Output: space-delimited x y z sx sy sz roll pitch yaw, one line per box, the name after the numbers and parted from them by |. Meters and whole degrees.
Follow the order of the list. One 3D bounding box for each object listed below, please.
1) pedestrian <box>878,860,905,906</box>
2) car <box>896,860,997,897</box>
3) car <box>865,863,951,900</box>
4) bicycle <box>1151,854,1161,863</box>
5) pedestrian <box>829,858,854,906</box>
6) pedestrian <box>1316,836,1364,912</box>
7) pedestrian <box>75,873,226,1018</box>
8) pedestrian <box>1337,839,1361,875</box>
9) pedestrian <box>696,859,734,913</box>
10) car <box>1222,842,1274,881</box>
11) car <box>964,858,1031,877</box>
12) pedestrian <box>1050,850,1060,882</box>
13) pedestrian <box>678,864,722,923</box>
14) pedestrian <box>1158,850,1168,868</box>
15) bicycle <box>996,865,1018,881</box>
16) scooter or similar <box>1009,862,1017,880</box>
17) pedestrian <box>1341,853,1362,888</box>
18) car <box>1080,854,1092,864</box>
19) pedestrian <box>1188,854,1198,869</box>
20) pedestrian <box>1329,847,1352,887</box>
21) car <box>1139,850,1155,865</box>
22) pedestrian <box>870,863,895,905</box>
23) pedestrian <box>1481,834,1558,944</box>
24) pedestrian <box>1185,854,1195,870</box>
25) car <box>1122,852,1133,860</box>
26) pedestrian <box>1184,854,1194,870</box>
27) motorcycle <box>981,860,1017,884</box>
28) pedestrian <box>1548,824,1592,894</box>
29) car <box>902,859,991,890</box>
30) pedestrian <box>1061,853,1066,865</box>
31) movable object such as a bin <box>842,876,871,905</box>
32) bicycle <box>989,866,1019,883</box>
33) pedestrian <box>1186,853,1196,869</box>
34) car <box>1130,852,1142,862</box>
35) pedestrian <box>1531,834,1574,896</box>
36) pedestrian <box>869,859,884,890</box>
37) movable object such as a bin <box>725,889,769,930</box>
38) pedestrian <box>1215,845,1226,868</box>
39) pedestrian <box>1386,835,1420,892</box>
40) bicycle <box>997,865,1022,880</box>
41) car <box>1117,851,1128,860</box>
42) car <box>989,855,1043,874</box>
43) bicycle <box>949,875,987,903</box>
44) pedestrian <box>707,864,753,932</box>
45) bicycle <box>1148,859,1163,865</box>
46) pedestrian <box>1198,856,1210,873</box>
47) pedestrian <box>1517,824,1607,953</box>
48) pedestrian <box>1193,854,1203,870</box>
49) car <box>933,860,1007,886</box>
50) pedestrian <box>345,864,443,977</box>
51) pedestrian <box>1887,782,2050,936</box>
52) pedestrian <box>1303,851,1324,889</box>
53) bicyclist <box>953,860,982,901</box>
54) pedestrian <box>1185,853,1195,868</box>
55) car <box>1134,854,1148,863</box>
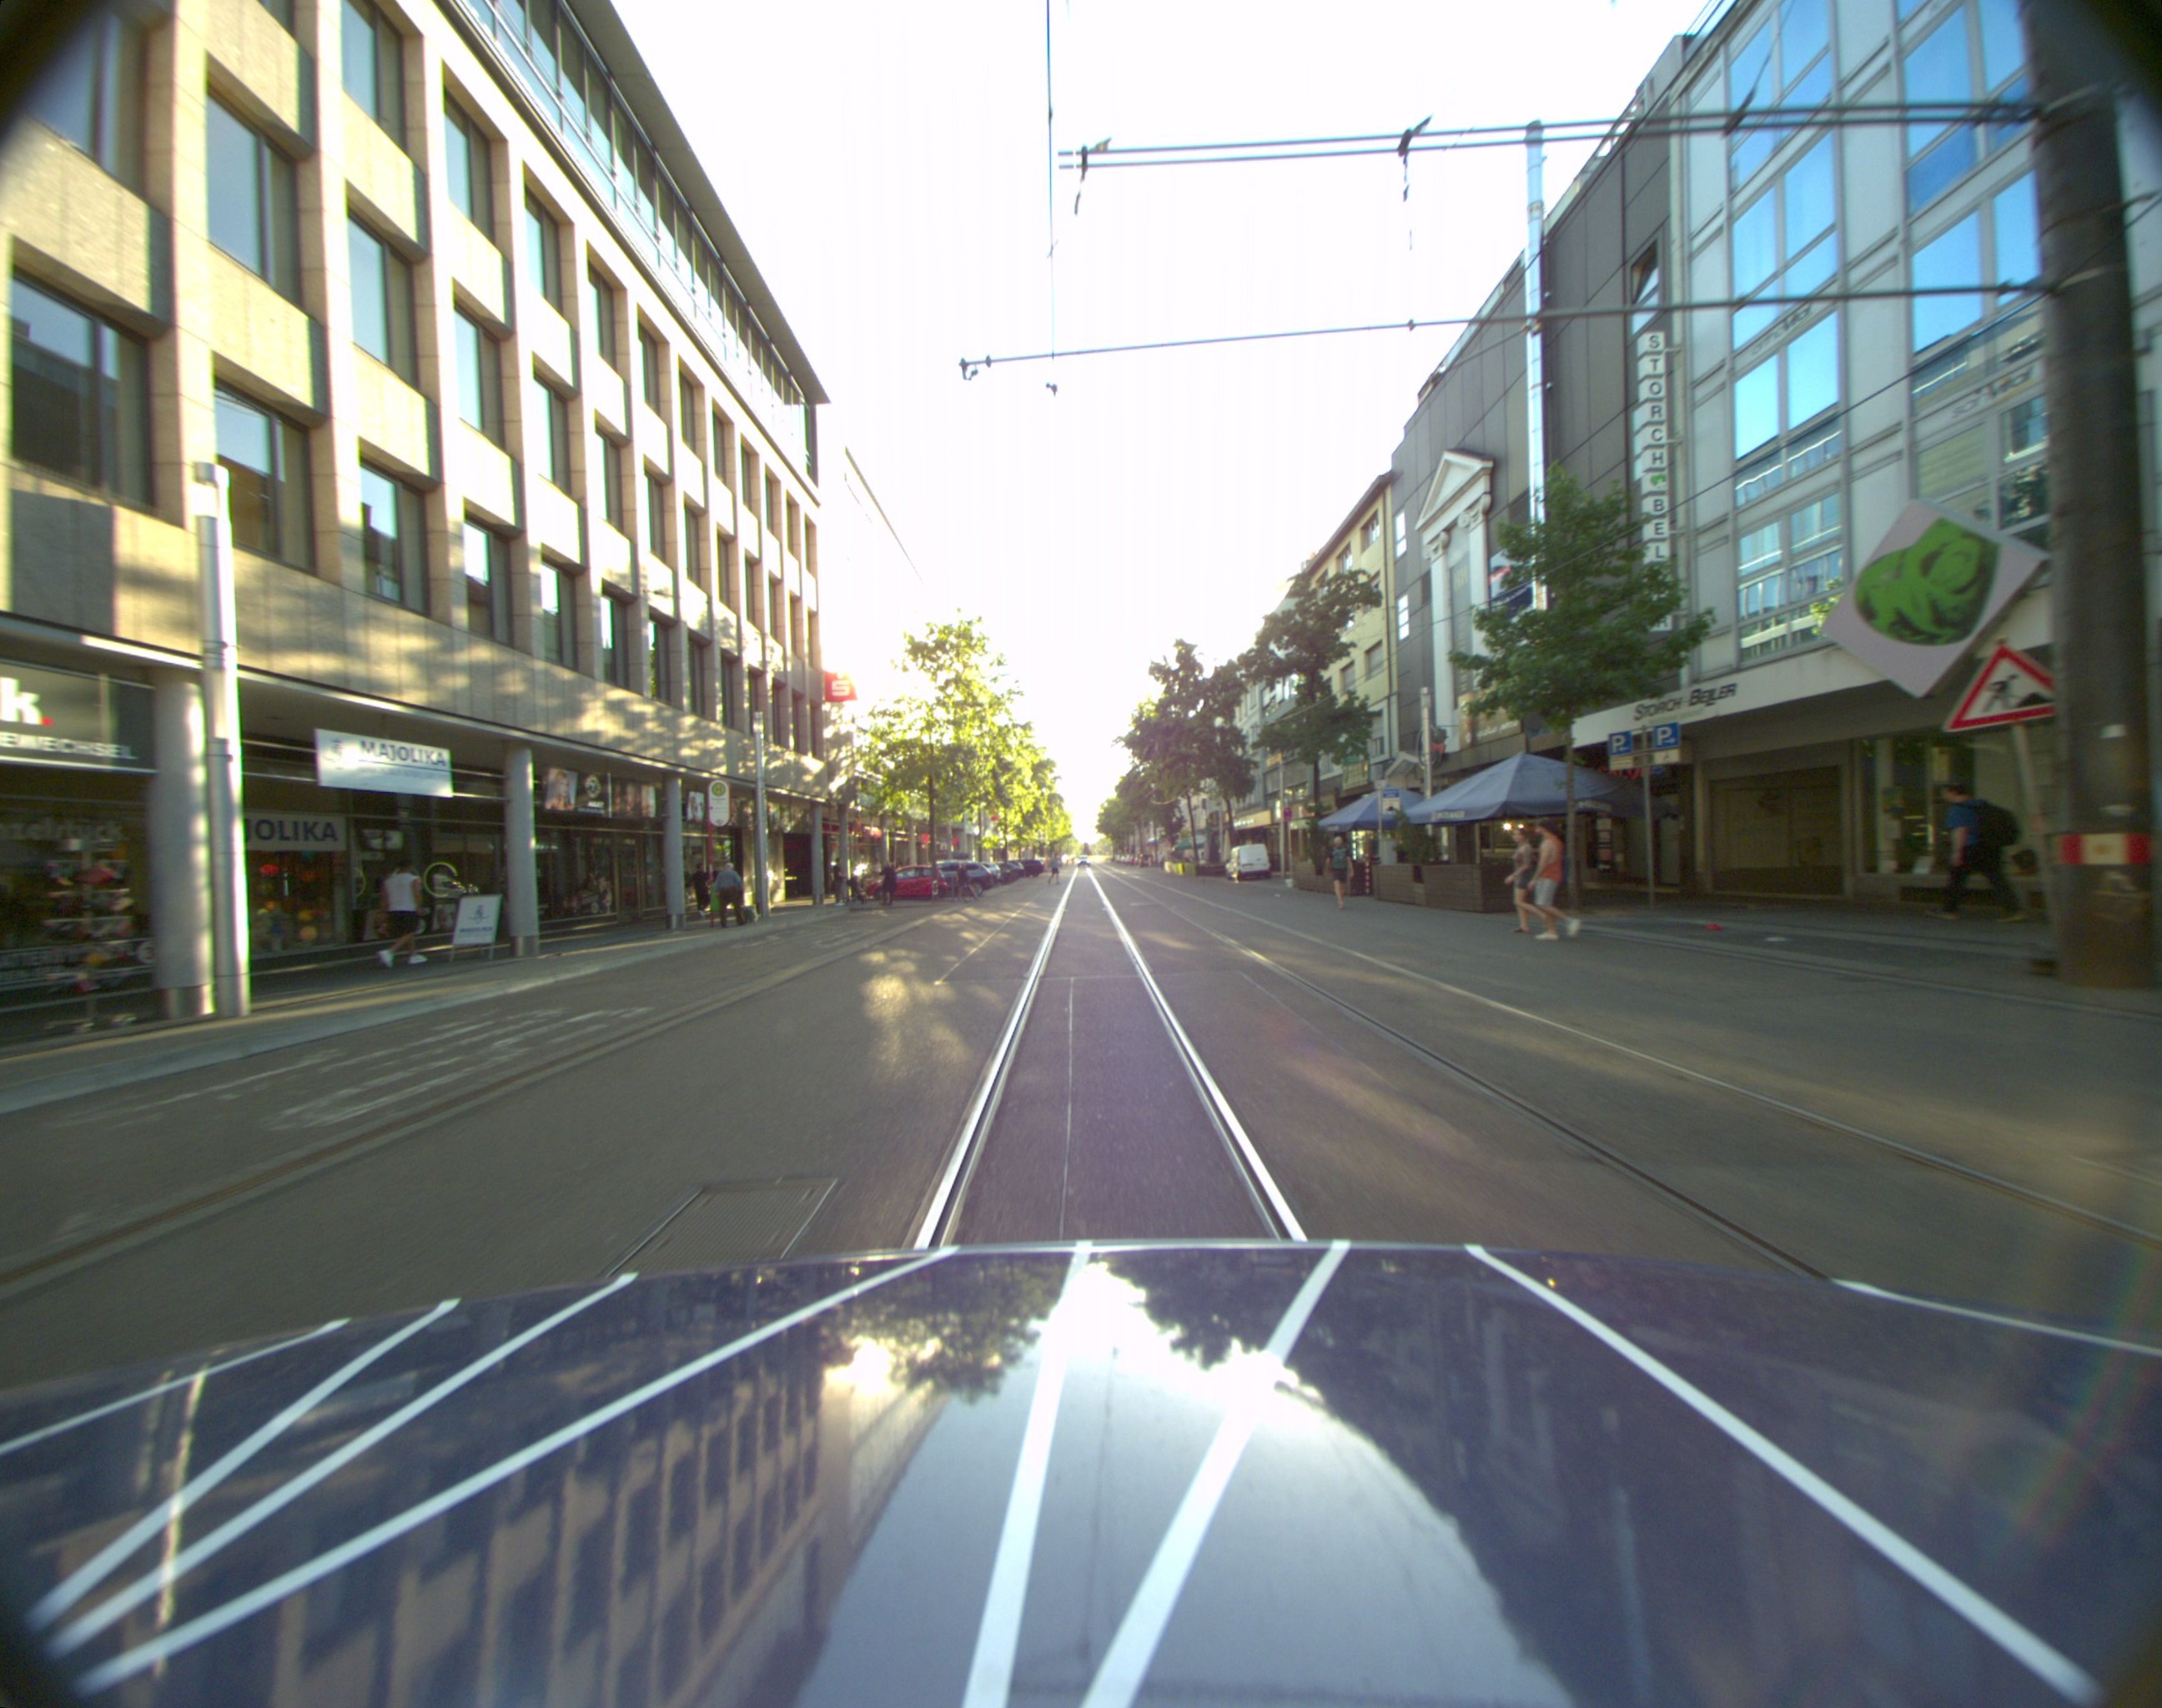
-6.965 1.050 27.888 0.679 1.675 0.697 1 1 34 | pedestrian
-6.266 1.090 35.538 4.364 1.642 1.690 0 0 -31 | car
-7.417 1.149 32.507 3.402 1.472 1.664 0 0 -19 | car
10.841 0.643 109.853 0.760 1.115 2.045 -5 0 -11 | bicycle
-8.824 1.012 27.995 0.687 1.721 0.634 1 1 42 | pedestrian
6.445 0.493 18.926 0.843 1.790 0.790 -4 1 1 | pedestrian
-11.651 1.109 9.547 0.746 1.690 0.858 -2 0 1 | pedestrian
12.819 0.139 36.382 0.668 1.676 1.005 -4 0 0 | pedestrian
-12.440 1.075 25.869 0.846 1.773 0.782 -2 0 1 | pedestrian
8.950 0.364 41.101 1.800 1.853 4.553 -5 0 1 | car
-6.794 1.123 61.856 5.071 1.460 1.972 1 0 -35 | car
-1.570 0.717 46.248 0.584 1.907 0.663 0 1 2 | pedestrian
-10.772 1.100 21.520 0.697 1.580 0.925 -2 0 1 | pedestrian
8.354 0.463 77.403 0.759 1.781 0.686 -4 1 -1 | pedestrian
-5.224 1.337 53.978 0.480 1.156 1.698 2 1 40 | bicycle
-5.174 1.291 57.754 0.452 1.269 1.306 2 0 -1 | scooter or similar
9.471 0.572 26.636 0.496 1.221 0.535 -3 1 -1 | pedestrian
0.857 0.797 121.814 1.827 1.603 3.796 -2 0 1 | car
9.618 0.624 65.158 0.709 1.252 0.869 -4 0 3 | pedestrian
9.540 0.484 27.947 0.551 1.421 0.582 -3 1 -1 | pedestrian
8.912 0.433 103.138 1.862 1.821 4.559 -3 0 2 | car
-7.469 1.110 28.583 0.606 1.543 0.691 1 1 44 | pedestrian
6.836 0.530 11.883 0.850 1.628 0.763 -4 1 20 | pedestrian
8.956 0.657 62.241 0.620 1.237 0.697 -5 1 0 | pedestrian
9.322 0.476 153.623 1.897 1.458 4.616 -5 0 1 | car
8.688 0.656 61.117 0.620 1.237 0.697 -5 1 0 | pedestrian
-5.418 1.169 50.433 2.324 1.501 0.856 0 1 -43 | motorcycle
12.504 0.124 19.433 0.598 1.735 0.671 -4 1 1 | pedestrian
-7.074 1.041 40.073 4.256 1.578 1.880 0 0 -31 | car
-2.803 0.806 119.823 0.705 1.858 0.792 -2 1 -2 | pedestrian
-8.405 1.350 28.462 0.687 1.057 0.835 1 0 42 | movable object such as a bin
-5.237 1.377 51.872 1.899 1.113 0.666 0 1 -29 | bicycle
9.635 0.608 66.487 0.709 1.339 0.781 -4 1 3 | pedestrian
9.139 0.488 125.633 1.664 1.397 4.141 -5 0 1 | car
12.033 0.266 19.387 0.598 1.524 0.671 -4 1 1 | pedestrian
-11.496 1.127 42.796 0.625 1.733 0.600 -1 1 5 | pedestrian
-8.259 1.357 18.819 0.691 0.918 0.718 -4 0 1 | movable object such as a bin
11.280 0.202 61.351 0.679 1.746 0.697 -4 1 2 | pedestrian
10.153 0.295 23.963 0.719 1.714 0.675 -3 1 -1 | pedestrian
-5.285 1.360 56.198 1.566 1.082 0.867 1 -1 -30 | bicycle
9.420 0.379 172.985 1.952 1.731 4.765 -5 0 0 | car
-6.078 0.986 71.537 4.674 1.753 1.990 0 0 -29 | car
-4.598 1.421 31.063 0.719 0.989 2.061 -4 0 14 | bicycle
-8.432 1.047 18.272 0.683 1.563 0.632 -4 0 1 | pedestrian
9.307 0.963 94.602 1.799 0.605 1.282 -3 0 3 | bicycle
8.771 0.740 54.184 0.658 1.186 0.798 -5 0 0 | pedestrian
6.827 0.477 10.840 0.850 1.731 0.836 -4 1 20 | pedestrian
9.439 0.607 61.306 0.620 1.237 0.697 -5 1 0 | pedestrian
-6.870 1.143 47.157 4.167 1.562 1.849 0 0 -33 | car
-11.348 1.070 12.582 0.746 1.782 0.858 -2 0 1 | pedestrian
11.896 0.063 10.230 0.803 1.912 1.071 -5 0 -3 | pedestrian
8.567 0.584 28.001 0.551 1.348 0.582 -3 1 -1 | pedestrian
-4.650 1.080 31.146 0.778 1.603 0.913 -4 0 14 | bicyclist
9.670 0.581 67.363 0.691 1.304 0.807 -4 0 1 | pedestrian
9.241 0.626 116.618 1.722 1.238 4.507 -5 0 0 | car
